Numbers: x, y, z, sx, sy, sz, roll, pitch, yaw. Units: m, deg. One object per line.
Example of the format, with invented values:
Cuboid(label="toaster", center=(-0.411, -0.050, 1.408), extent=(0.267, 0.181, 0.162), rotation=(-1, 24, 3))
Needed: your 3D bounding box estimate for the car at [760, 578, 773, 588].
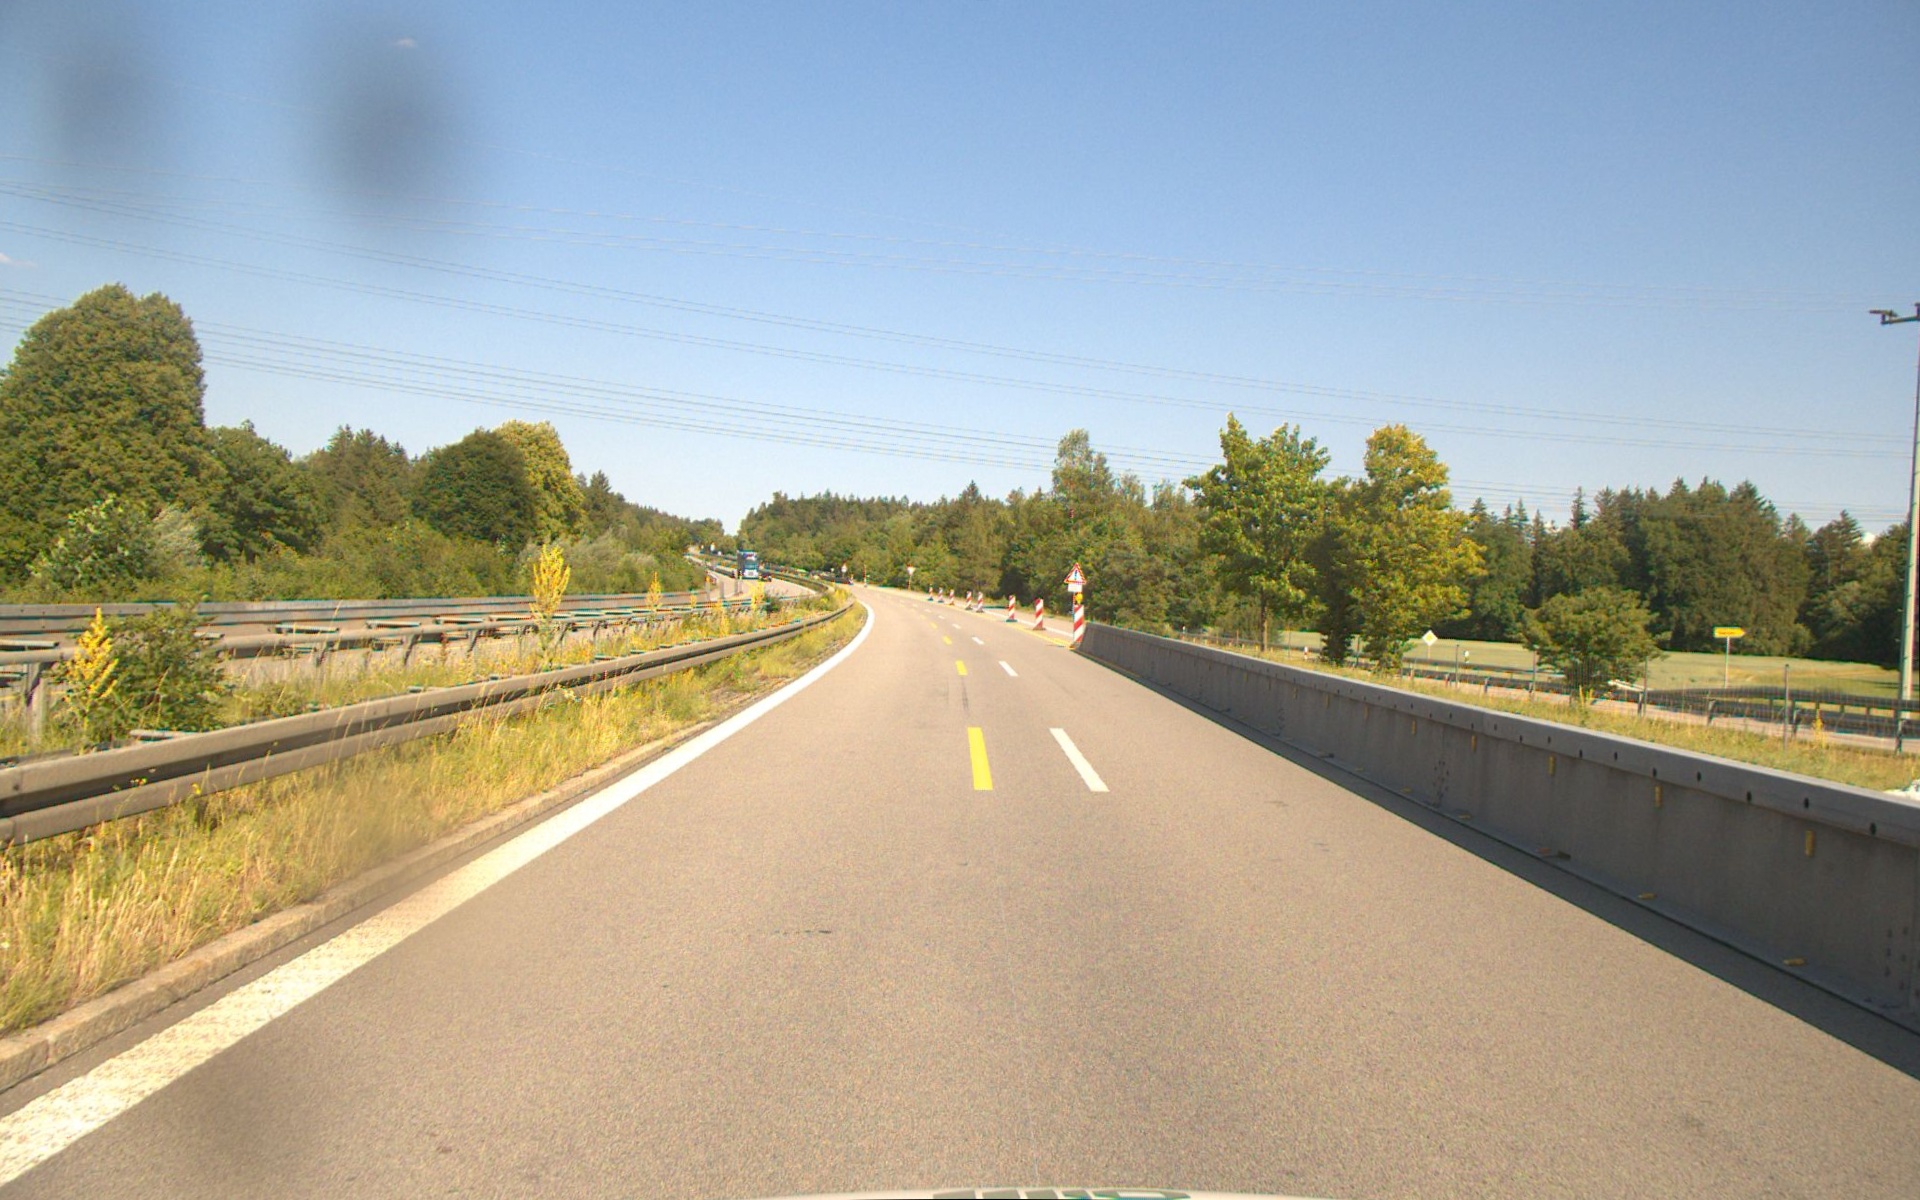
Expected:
Cuboid(label="car", center=(-27.527, -2.392, 235.914), extent=(1.743, 1.454, 4.264), rotation=(0, 1, -6))

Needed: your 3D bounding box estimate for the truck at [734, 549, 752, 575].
Cuboid(label="truck", center=(-33.656, -5.874, 256.514), extent=(2.582, 4.028, 5.835), rotation=(1, 0, -6))
